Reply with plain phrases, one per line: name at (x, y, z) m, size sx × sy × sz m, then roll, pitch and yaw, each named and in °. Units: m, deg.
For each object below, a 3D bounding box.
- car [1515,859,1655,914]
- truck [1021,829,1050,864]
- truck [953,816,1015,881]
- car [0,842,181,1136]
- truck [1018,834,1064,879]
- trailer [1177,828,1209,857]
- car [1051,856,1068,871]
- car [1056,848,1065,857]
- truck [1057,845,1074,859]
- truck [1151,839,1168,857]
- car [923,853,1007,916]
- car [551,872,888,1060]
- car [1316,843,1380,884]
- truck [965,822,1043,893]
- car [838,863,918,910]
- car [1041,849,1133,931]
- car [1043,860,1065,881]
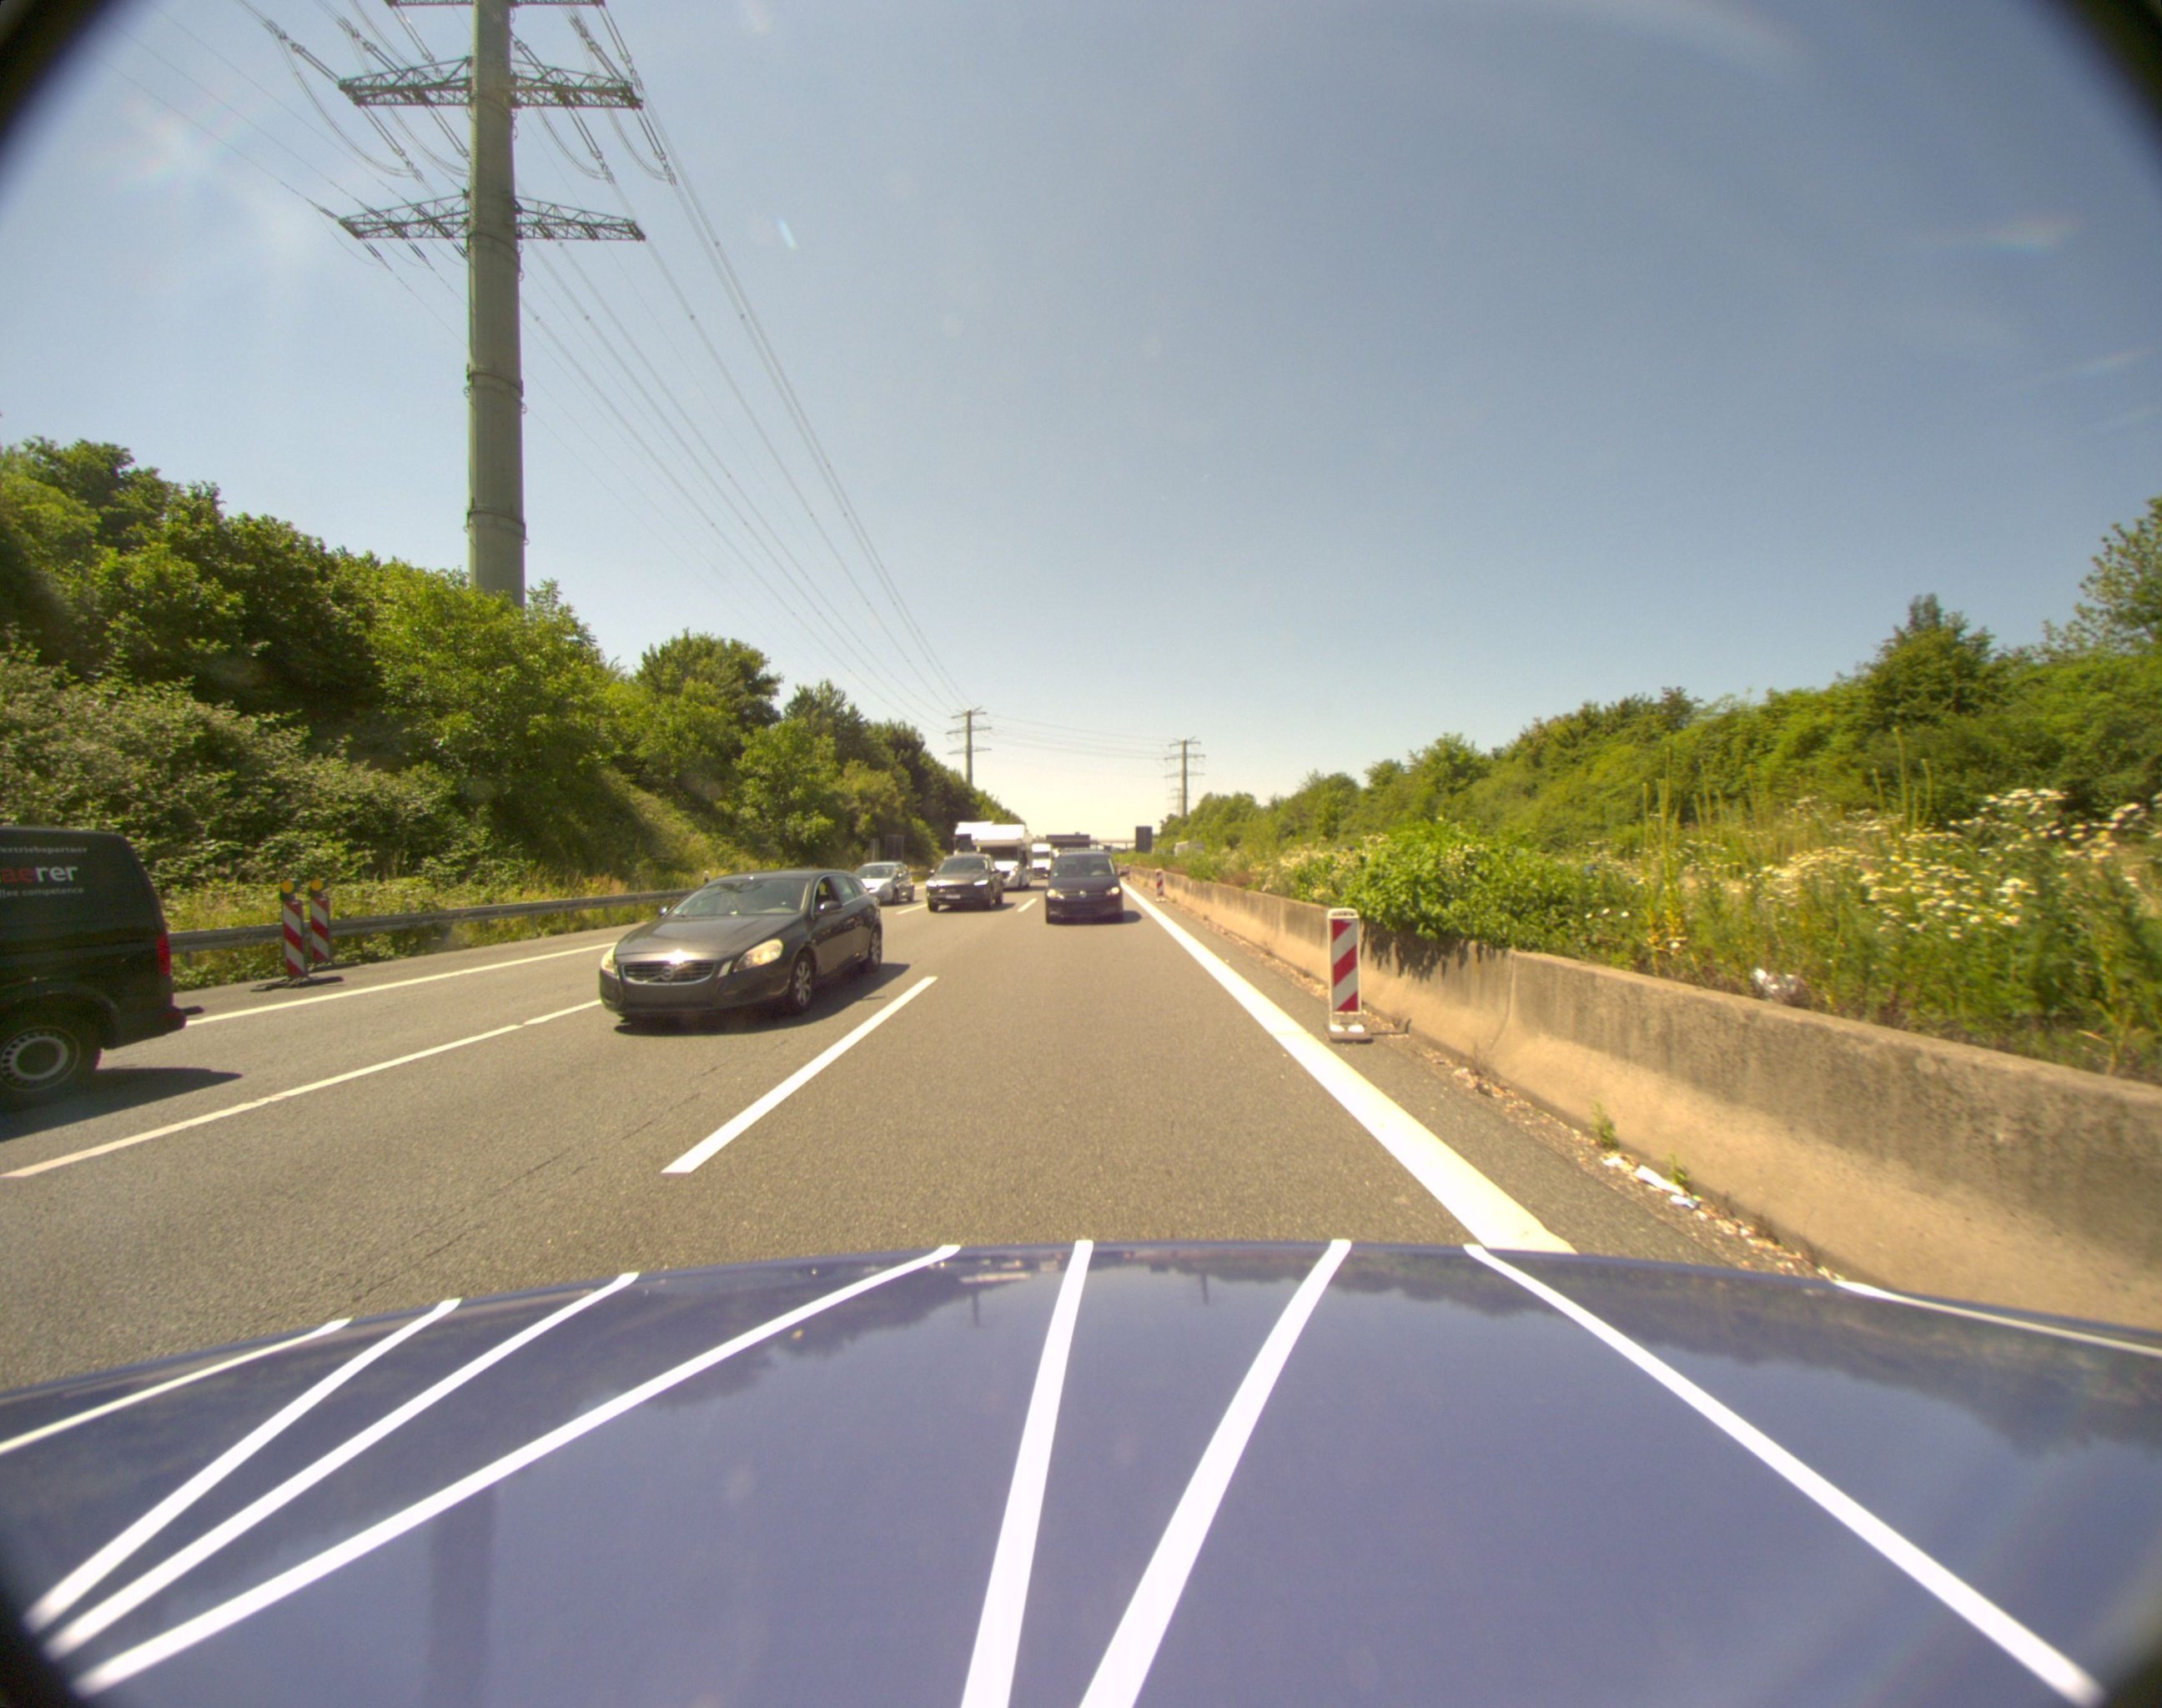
car at (15.301, 0.925, 23.341) m, size 1.675 × 1.494 × 4.000 m, roll 0°, pitch 0°, yaw 1°
truck at (-5.786, -0.919, 98.458) m, size 2.655 × 4.128 × 11.661 m, roll -2°, pitch 0°, yaw 1°
truck at (-6.812, -0.392, 55.321) m, size 2.655 × 4.128 × 11.661 m, roll -2°, pitch 0°, yaw 1°
car at (-7.892, 0.913, 3.507) m, size 1.788 × 1.893 × 4.697 m, roll -2°, pitch 0°, yaw 0°
truck at (-2.860, 0.132, 57.340) m, size 2.514 × 2.997 × 9.897 m, roll -2°, pitch 0°, yaw 2°
trailer at (17.529, -1.717, 120.020) m, size 3.024 × 4.143 × 14.019 m, roll 2°, pitch 0°, yaw 1°
car at (-2.615, 1.101, 93.728) m, size 1.892 × 1.693 × 4.383 m, roll -2°, pitch 0°, yaw -1°
car at (-5.125, -0.399, 192.965) m, size 1.998 × 2.002 × 4.000 m, roll -2°, pitch 1°, yaw 1°
truck at (-2.634, -0.312, 130.920) m, size 2.408 × 2.203 × 6.744 m, roll -2°, pitch 0°, yaw 2°
truck at (17.366, -1.299, 168.361) m, size 2.769 × 3.866 × 9.029 m, roll 2°, pitch 0°, yaw 1°
car at (-3.453, 0.845, 23.409) m, size 1.892 × 1.693 × 4.383 m, roll -2°, pitch 0°, yaw -1°
car at (-3.653, 1.016, 8.672) m, size 1.800 × 1.429 × 4.230 m, roll -2°, pitch 0°, yaw -1°
car at (12.685, 0.432, 36.329) m, size 1.707 × 1.852 × 4.000 m, roll 0°, pitch 0°, yaw 1°
truck at (-3.605, 0.117, 38.027) m, size 2.514 × 2.997 × 9.897 m, roll -2°, pitch 0°, yaw 2°
car at (-7.019, 1.079, 26.654) m, size 1.800 × 1.429 × 3.731 m, roll -2°, pitch 0°, yaw -1°
car at (0.107, 0.755, 18.418) m, size 1.892 × 1.693 × 4.383 m, roll -2°, pitch 0°, yaw -1°
car at (-2.495, 1.500, 70.237) m, size 1.892 × 1.693 × 4.383 m, roll -2°, pitch 0°, yaw -1°
